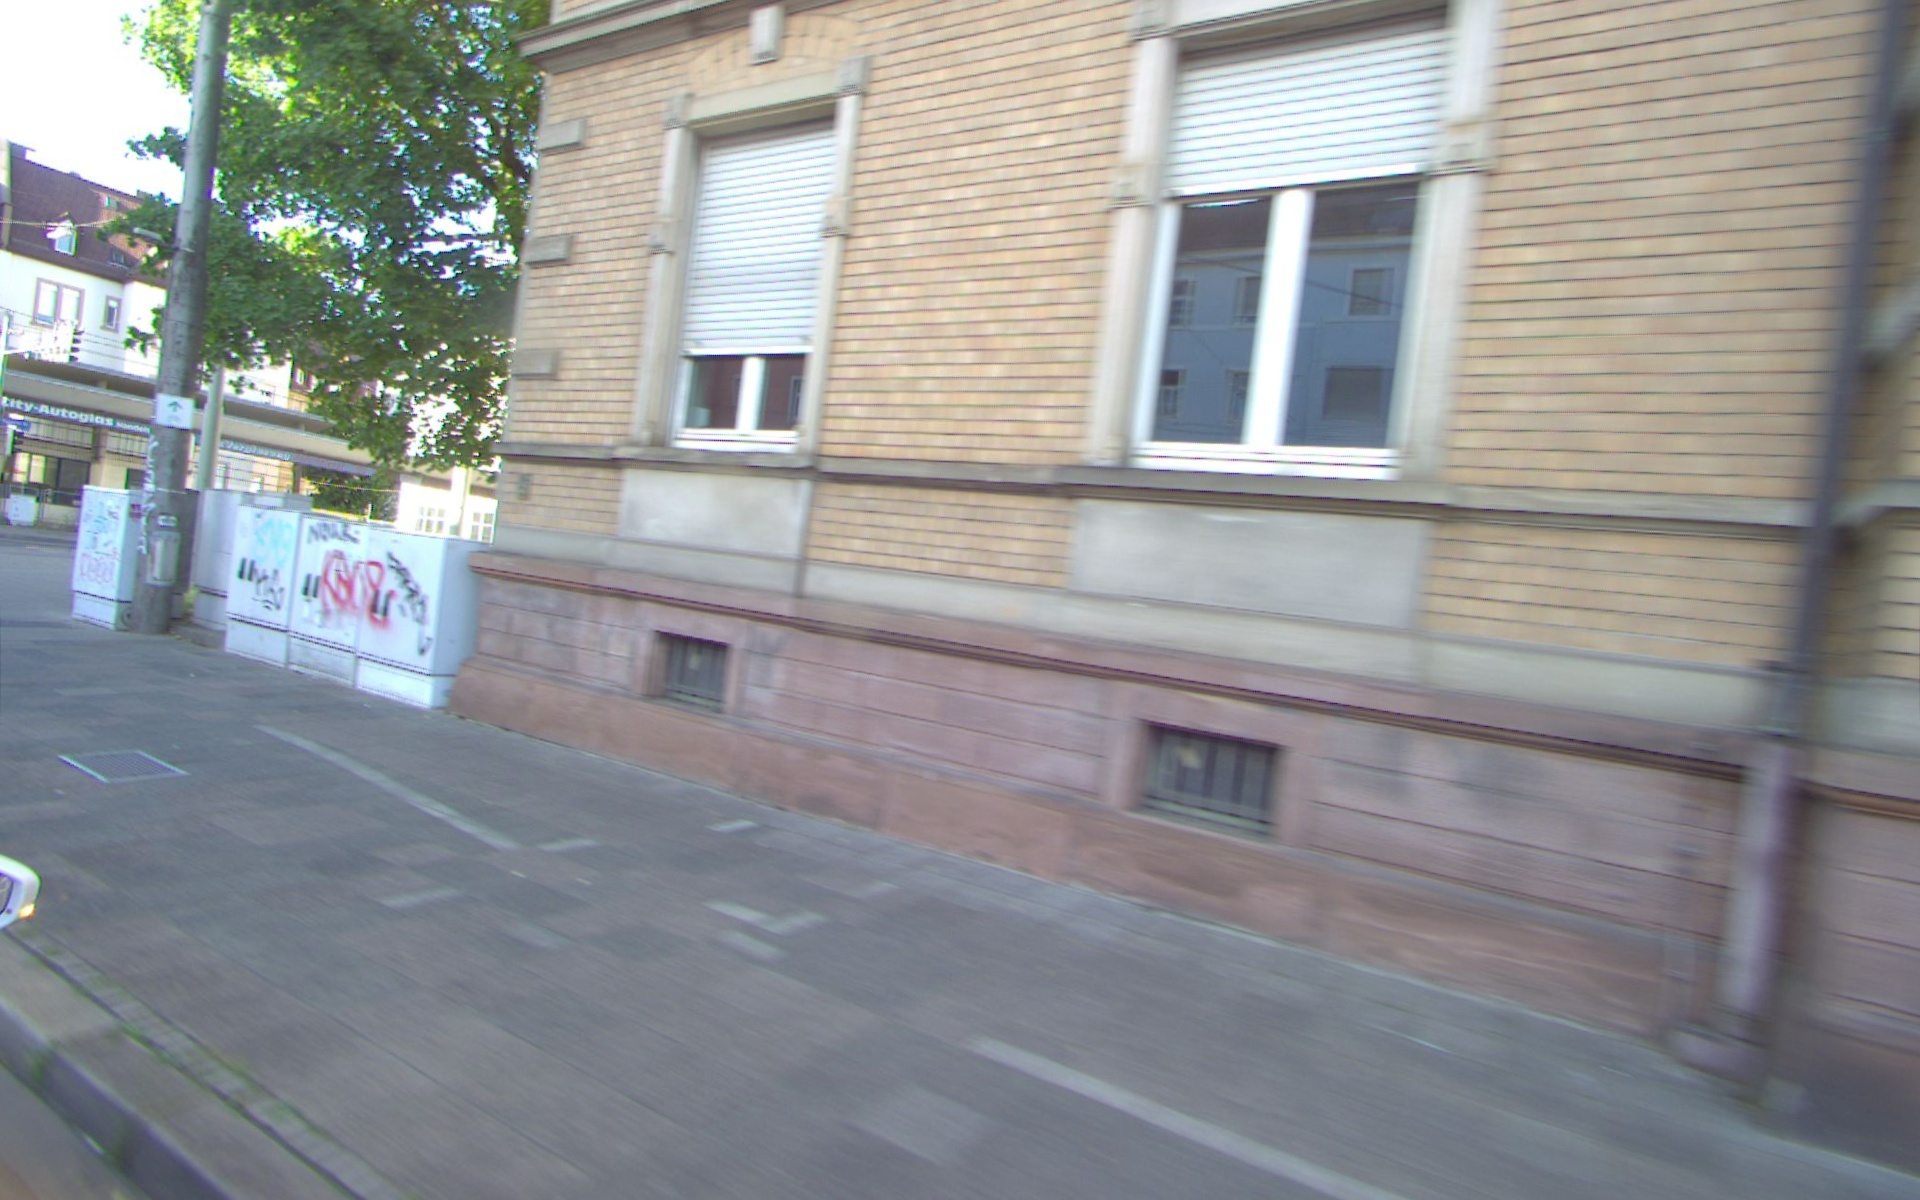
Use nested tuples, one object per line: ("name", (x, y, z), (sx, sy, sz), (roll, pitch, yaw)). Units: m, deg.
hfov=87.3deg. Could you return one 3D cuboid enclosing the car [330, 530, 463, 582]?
("car", (-22.176, -1.699, 39.736), (1.767, 1.475, 4.182), (6, -2, 32))
